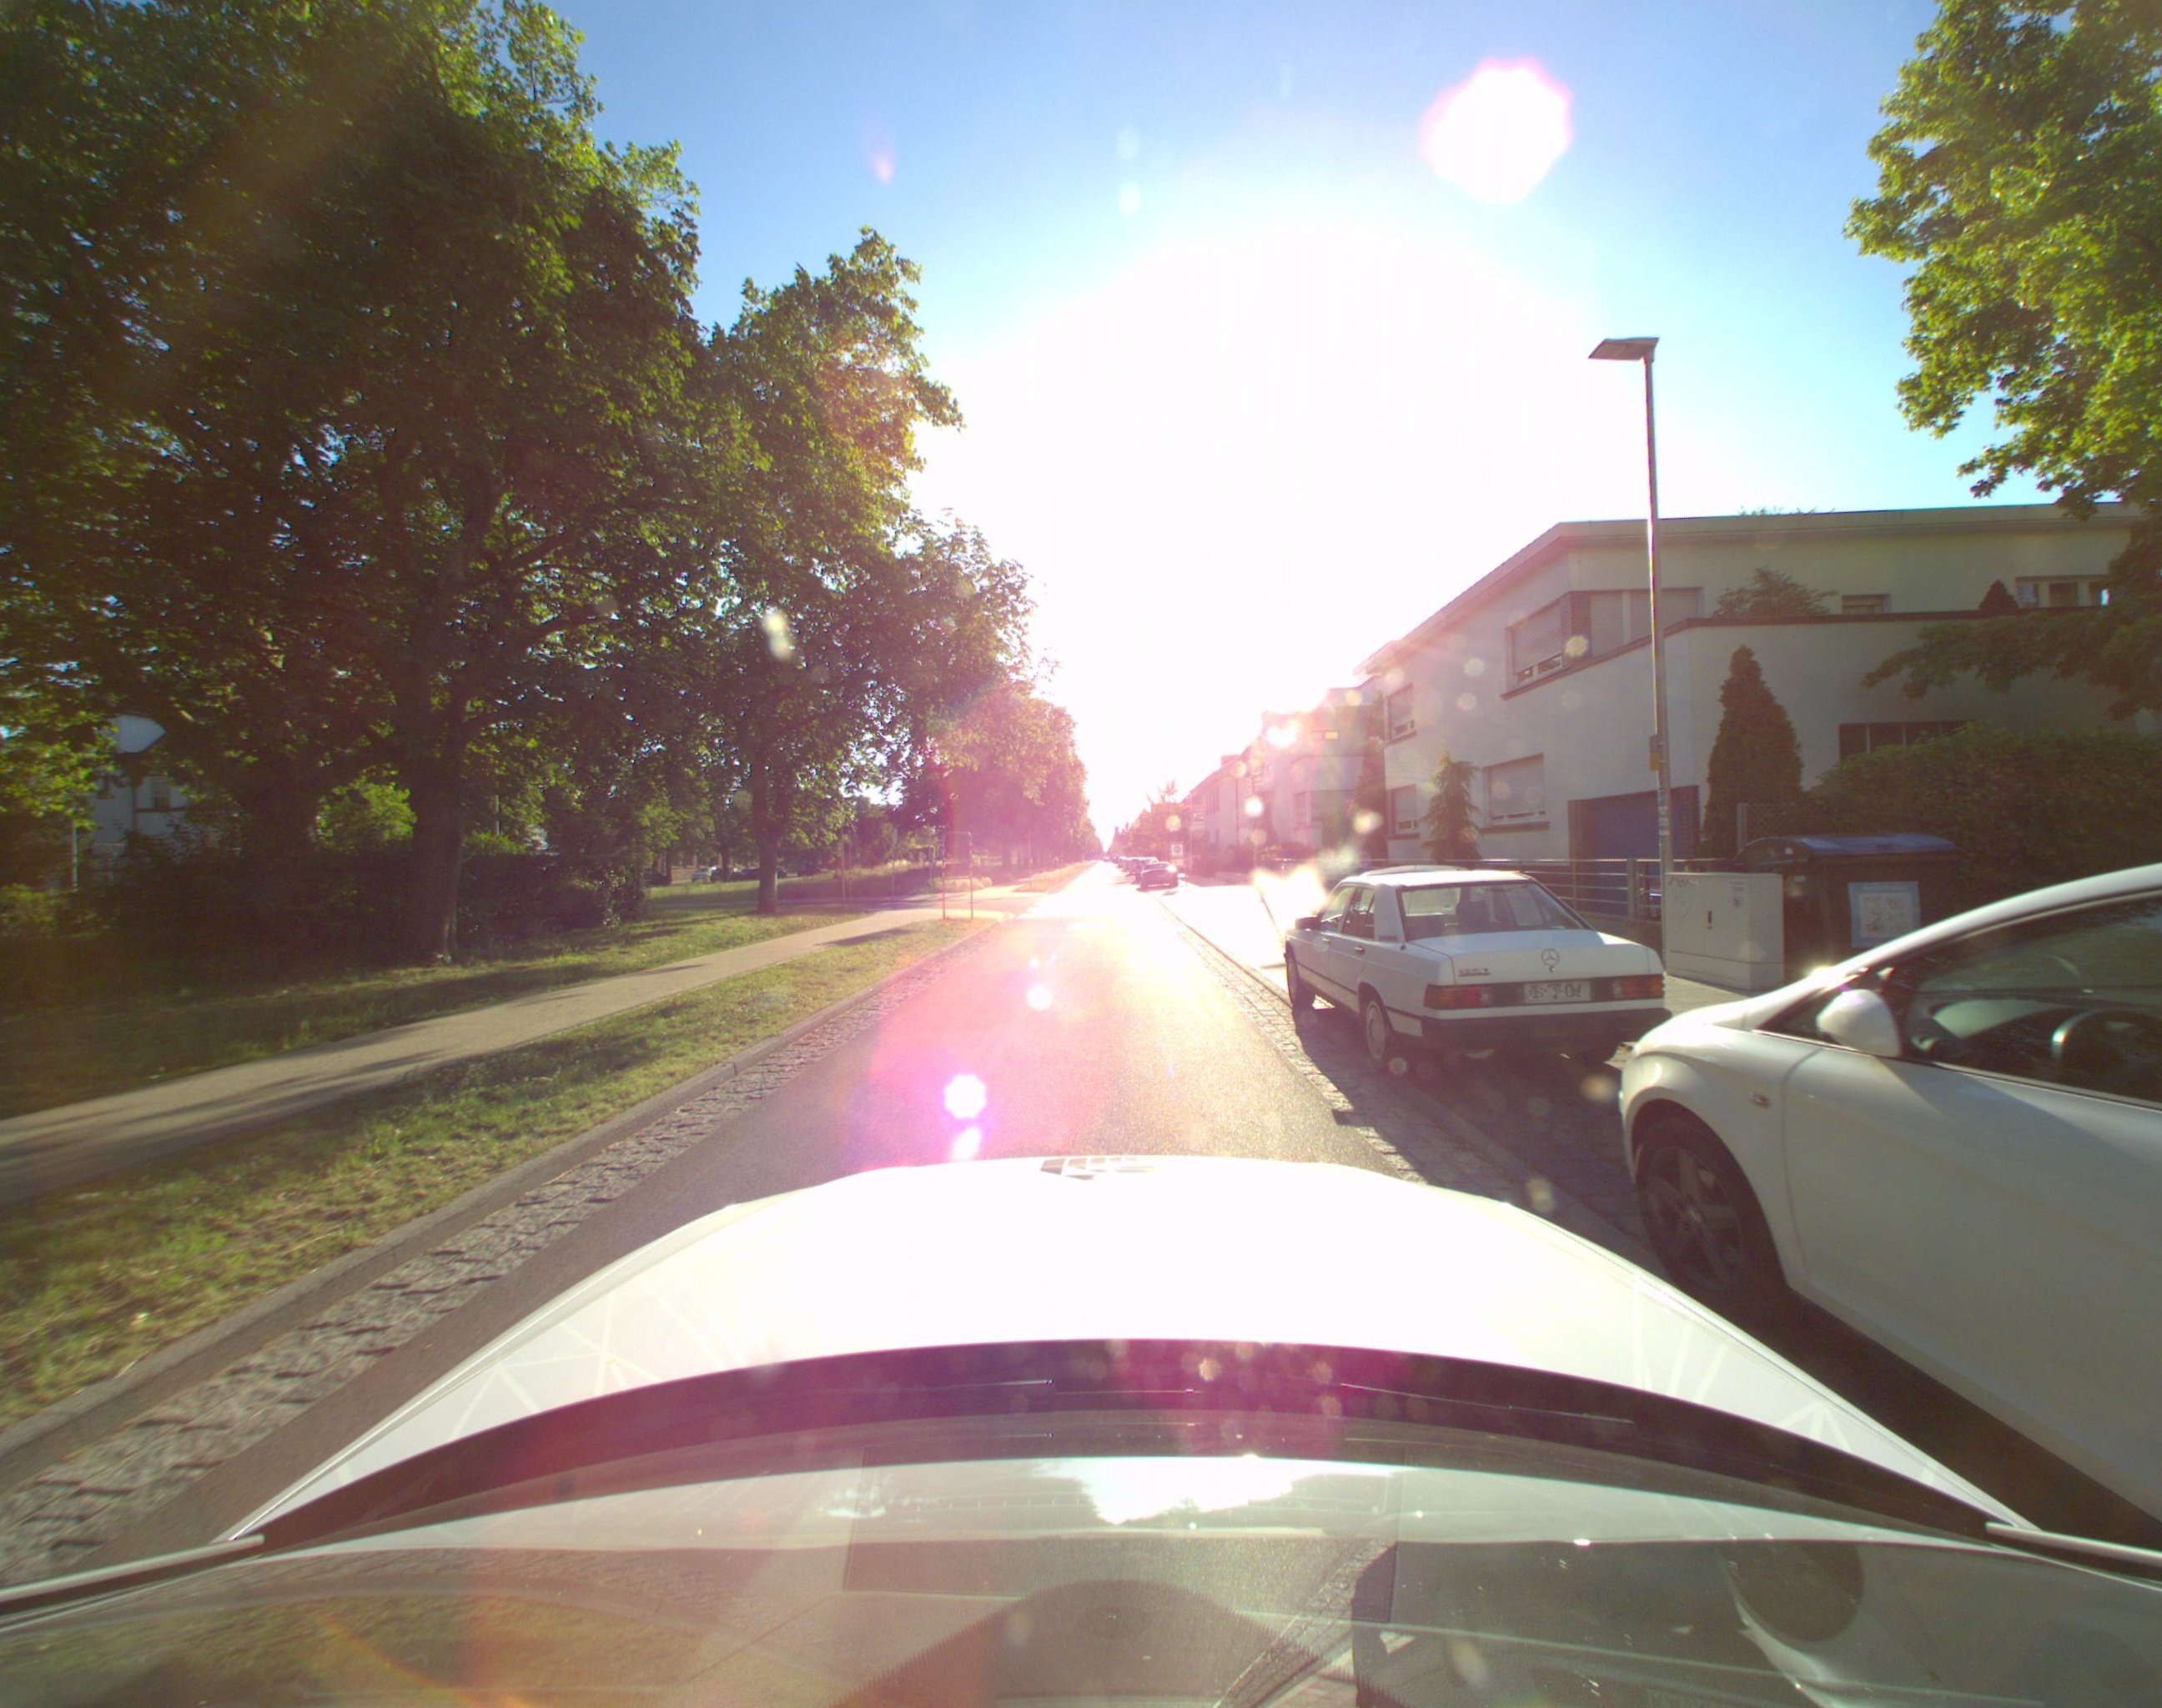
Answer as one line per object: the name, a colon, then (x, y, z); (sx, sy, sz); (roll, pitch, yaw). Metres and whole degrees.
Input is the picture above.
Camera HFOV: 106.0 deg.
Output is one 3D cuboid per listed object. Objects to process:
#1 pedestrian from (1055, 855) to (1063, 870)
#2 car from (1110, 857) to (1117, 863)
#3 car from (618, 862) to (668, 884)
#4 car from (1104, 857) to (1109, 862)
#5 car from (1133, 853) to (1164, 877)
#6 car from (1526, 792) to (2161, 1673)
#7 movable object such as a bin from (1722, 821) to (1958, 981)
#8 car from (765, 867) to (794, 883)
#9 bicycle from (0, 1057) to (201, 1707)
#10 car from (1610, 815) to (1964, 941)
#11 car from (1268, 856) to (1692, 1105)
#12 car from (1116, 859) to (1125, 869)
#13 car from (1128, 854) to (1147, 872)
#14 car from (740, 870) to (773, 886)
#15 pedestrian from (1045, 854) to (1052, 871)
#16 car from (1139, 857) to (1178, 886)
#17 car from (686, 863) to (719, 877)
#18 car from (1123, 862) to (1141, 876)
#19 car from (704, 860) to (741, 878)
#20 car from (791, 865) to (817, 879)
pedestrian: (-2.364, 0.908, 87.486); (0.779, 1.614, 0.953); (-1, 0, 5)
car: (8.267, 1.563, 205.211); (1.645, 1.541, 3.269); (0, -1, 3)
car: (-35.196, 1.498, 65.556); (1.686, 1.597, 4.222); (-1, 0, 1)
car: (7.710, 1.620, 246.943); (1.646, 1.541, 3.268); (0, -1, 2)
car: (4.550, 0.731, 55.124); (1.738, 1.474, 3.922); (-4, 0, 1)
car: (2.713, 0.633, 1.464); (1.672, 1.555, 4.133); (-3, 0, 3)
movable object such as a bin: (7.283, 0.433, 7.912); (1.232, 1.432, 1.124); (-1, -1, 3)
car: (-33.991, 2.357, 91.904); (1.686, 1.597, 4.222); (-1, 0, 1)
bicycle: (-2.137, 0.934, 0.739); (0.554, 1.032, 1.915); (-2, -1, 1)
car: (9.860, 0.347, 11.651); (3.472, 1.642, 1.647); (-1, -1, 9)
car: (2.832, 0.753, 6.949); (1.557, 1.390, 4.376); (-3, 0, 2)
car: (6.929, 1.741, 142.569); (1.492, 1.567, 3.269); (-2, -1, 3)
car: (5.170, 0.795, 75.040); (1.621, 1.504, 3.635); (-3, 0, 2)
car: (-34.144, 2.478, 85.681); (1.686, 1.597, 4.222); (-1, 0, 1)
pedestrian: (-3.466, 0.933, 87.131); (0.621, 1.831, 0.887); (-1, 0, 5)
car: (4.116, 0.916, 43.896); (1.768, 1.288, 4.275); (-4, 0, 2)
car: (-40.068, 1.717, 86.296); (1.623, 1.406, 4.001); (-1, 0, 1)
car: (5.741, 1.686, 91.610); (1.731, 1.449, 4.197); (-3, -1, 0)
car: (-35.032, 1.452, 79.634); (1.686, 1.597, 4.222); (-1, 0, 1)
car: (-34.673, 2.260, 101.973); (1.686, 1.597, 4.222); (-1, 0, 1)
